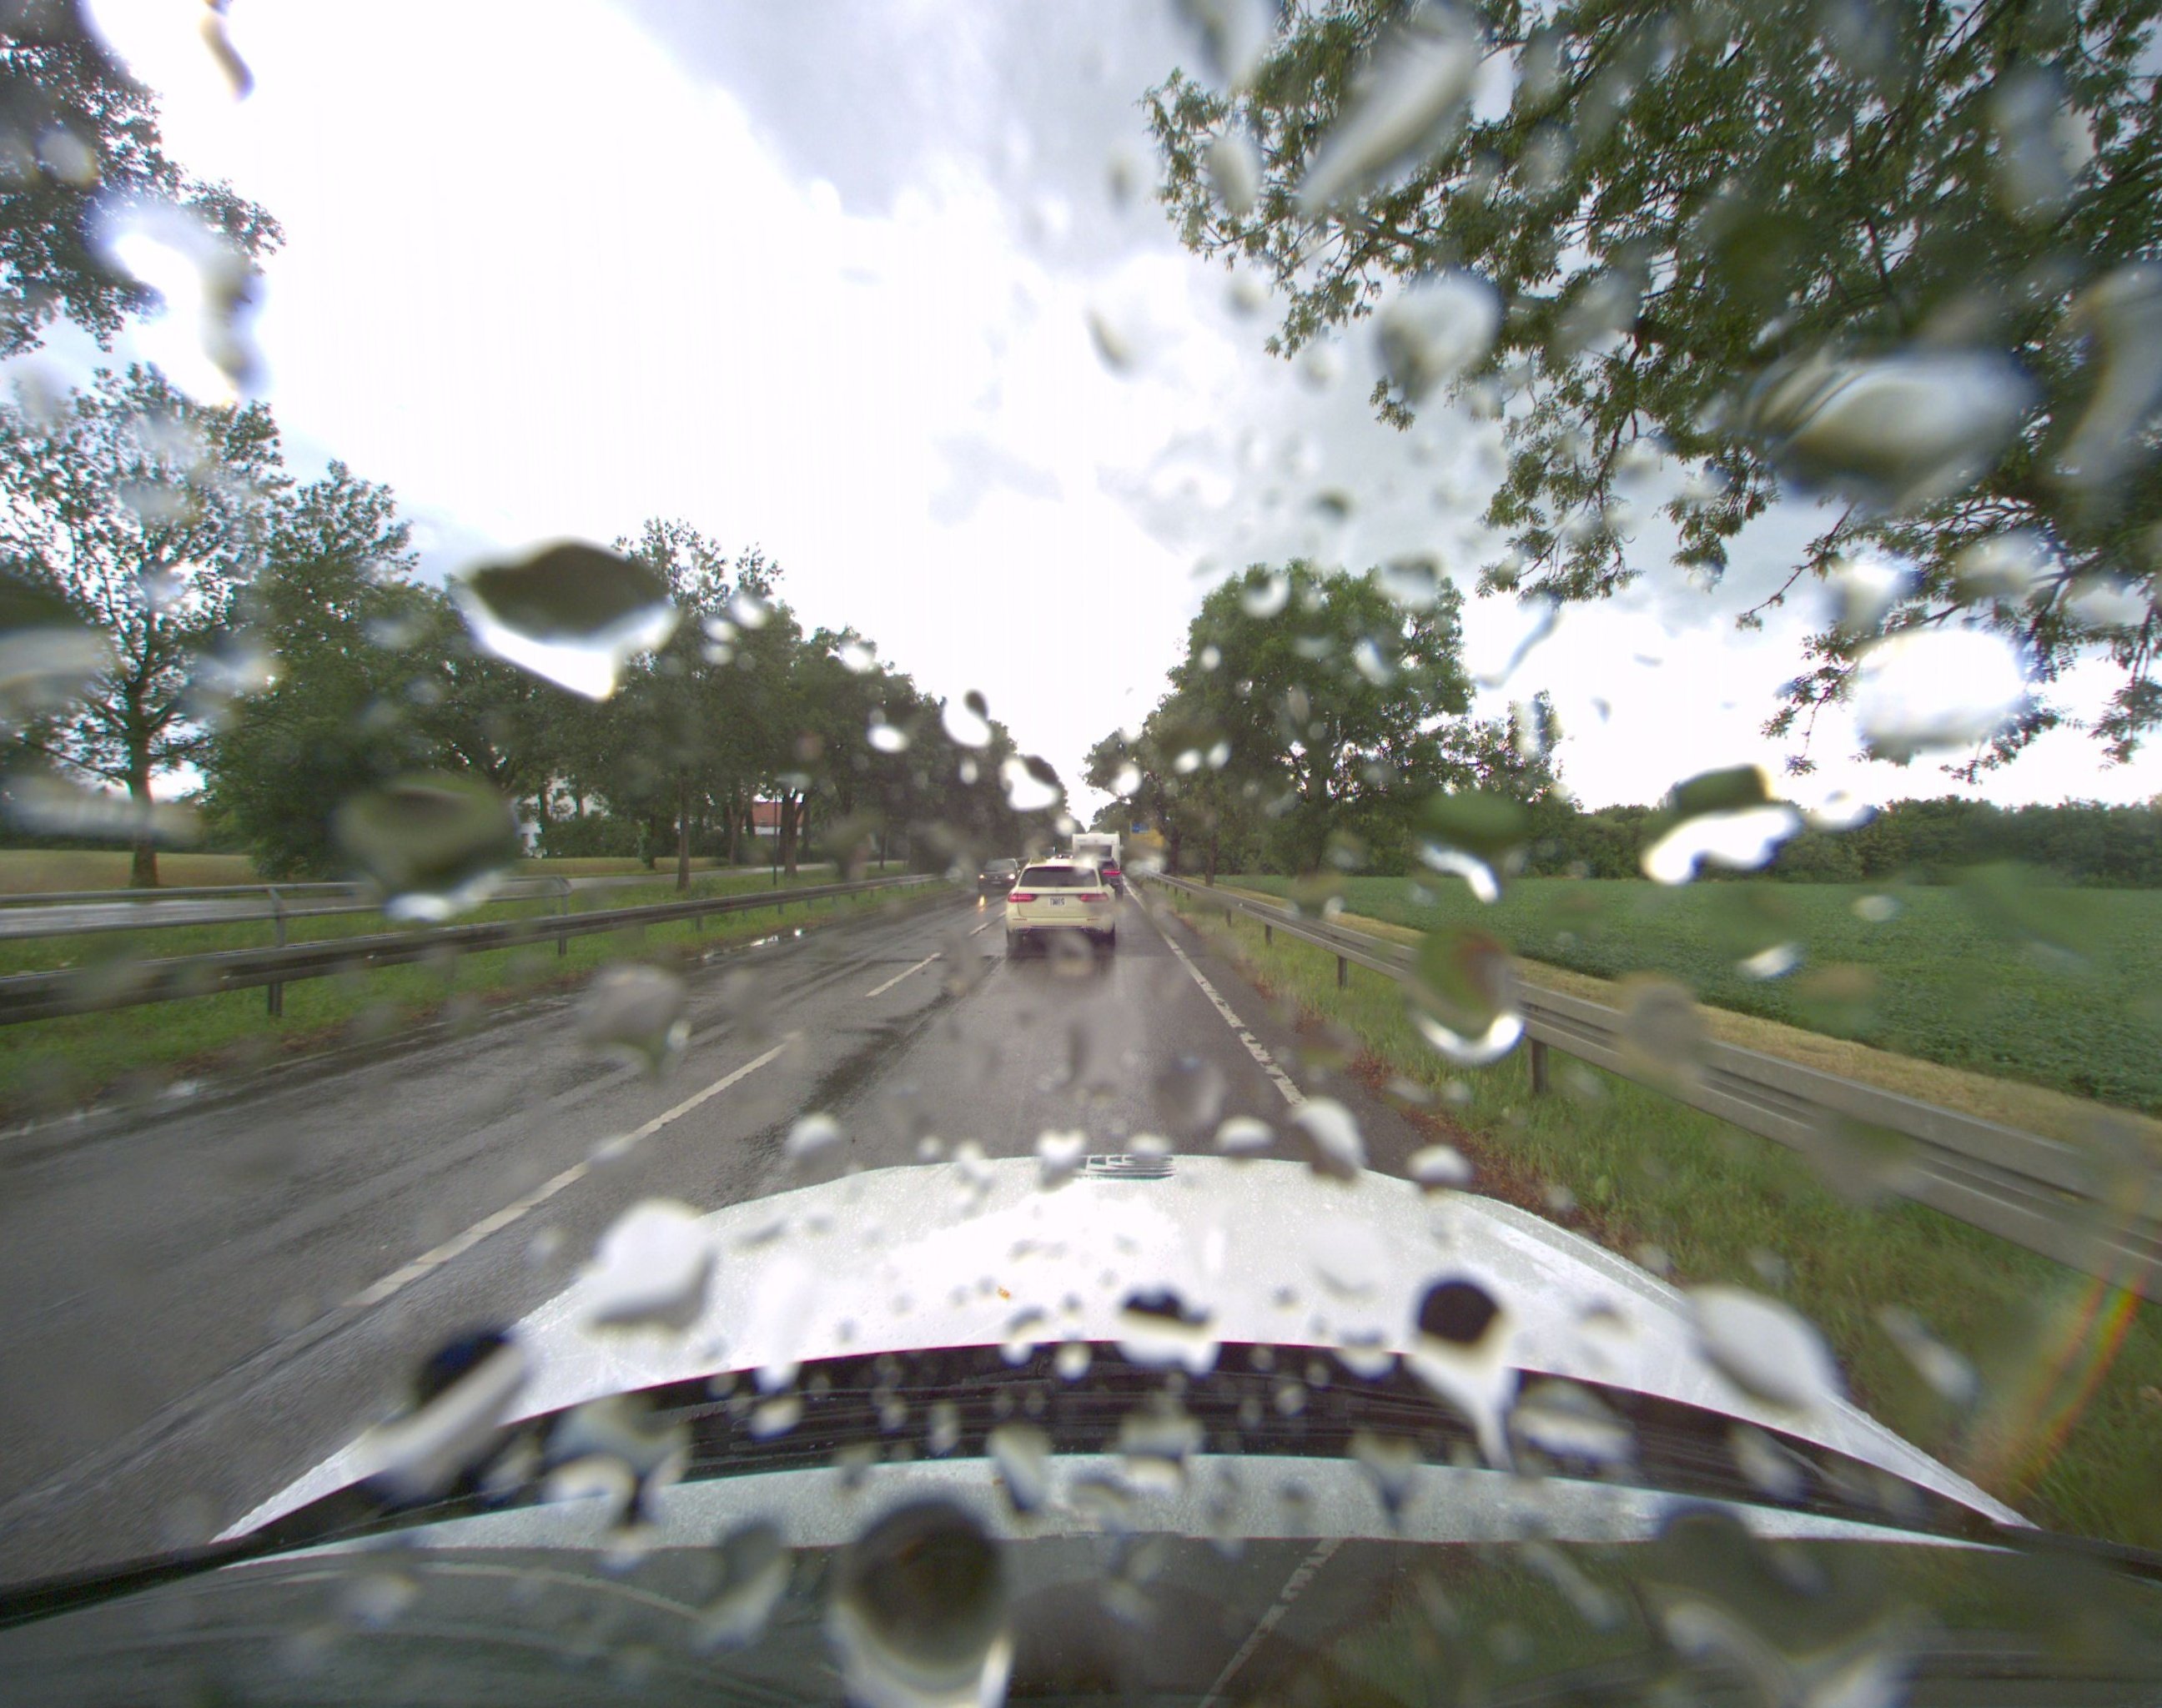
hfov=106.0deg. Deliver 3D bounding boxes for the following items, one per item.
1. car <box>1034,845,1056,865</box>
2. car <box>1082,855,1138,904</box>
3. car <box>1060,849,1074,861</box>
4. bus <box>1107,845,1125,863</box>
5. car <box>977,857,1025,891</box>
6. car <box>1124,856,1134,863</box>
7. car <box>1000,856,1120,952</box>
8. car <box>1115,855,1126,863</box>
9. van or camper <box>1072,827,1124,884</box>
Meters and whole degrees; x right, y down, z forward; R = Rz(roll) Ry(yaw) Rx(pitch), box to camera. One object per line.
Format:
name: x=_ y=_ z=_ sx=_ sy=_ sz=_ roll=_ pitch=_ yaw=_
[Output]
car: x=-3.350 y=0.072 z=76.399 sx=1.821 sy=1.802 sz=4.416 roll=-1 pitch=0 yaw=1
car: x=0.971 y=0.775 z=26.684 sx=1.657 sy=1.430 sz=4.003 roll=-1 pitch=0 yaw=3
car: x=-1.716 y=0.133 z=103.292 sx=1.622 sy=1.438 sz=3.961 roll=0 pitch=0 yaw=1
bus: x=4.049 y=0.036 z=95.189 sx=1.986 sy=2.013 sz=4.001 roll=-1 pitch=0 yaw=1
car: x=-3.584 y=0.861 z=37.095 sx=1.708 sy=1.451 sz=4.112 roll=-1 pitch=0 yaw=1
car: x=7.473 y=0.887 z=127.980 sx=1.545 sy=1.118 sz=4.002 roll=0 pitch=-1 yaw=2
car: x=-0.230 y=0.788 z=14.747 sx=1.857 sy=1.476 sz=4.003 roll=-1 pitch=0 yaw=3
car: x=5.712 y=0.724 z=118.541 sx=1.546 sy=1.118 sz=4.001 roll=0 pitch=-1 yaw=1
van or camper: x=0.930 y=0.058 z=41.480 sx=2.479 sy=2.685 sz=5.704 roll=0 pitch=0 yaw=3
